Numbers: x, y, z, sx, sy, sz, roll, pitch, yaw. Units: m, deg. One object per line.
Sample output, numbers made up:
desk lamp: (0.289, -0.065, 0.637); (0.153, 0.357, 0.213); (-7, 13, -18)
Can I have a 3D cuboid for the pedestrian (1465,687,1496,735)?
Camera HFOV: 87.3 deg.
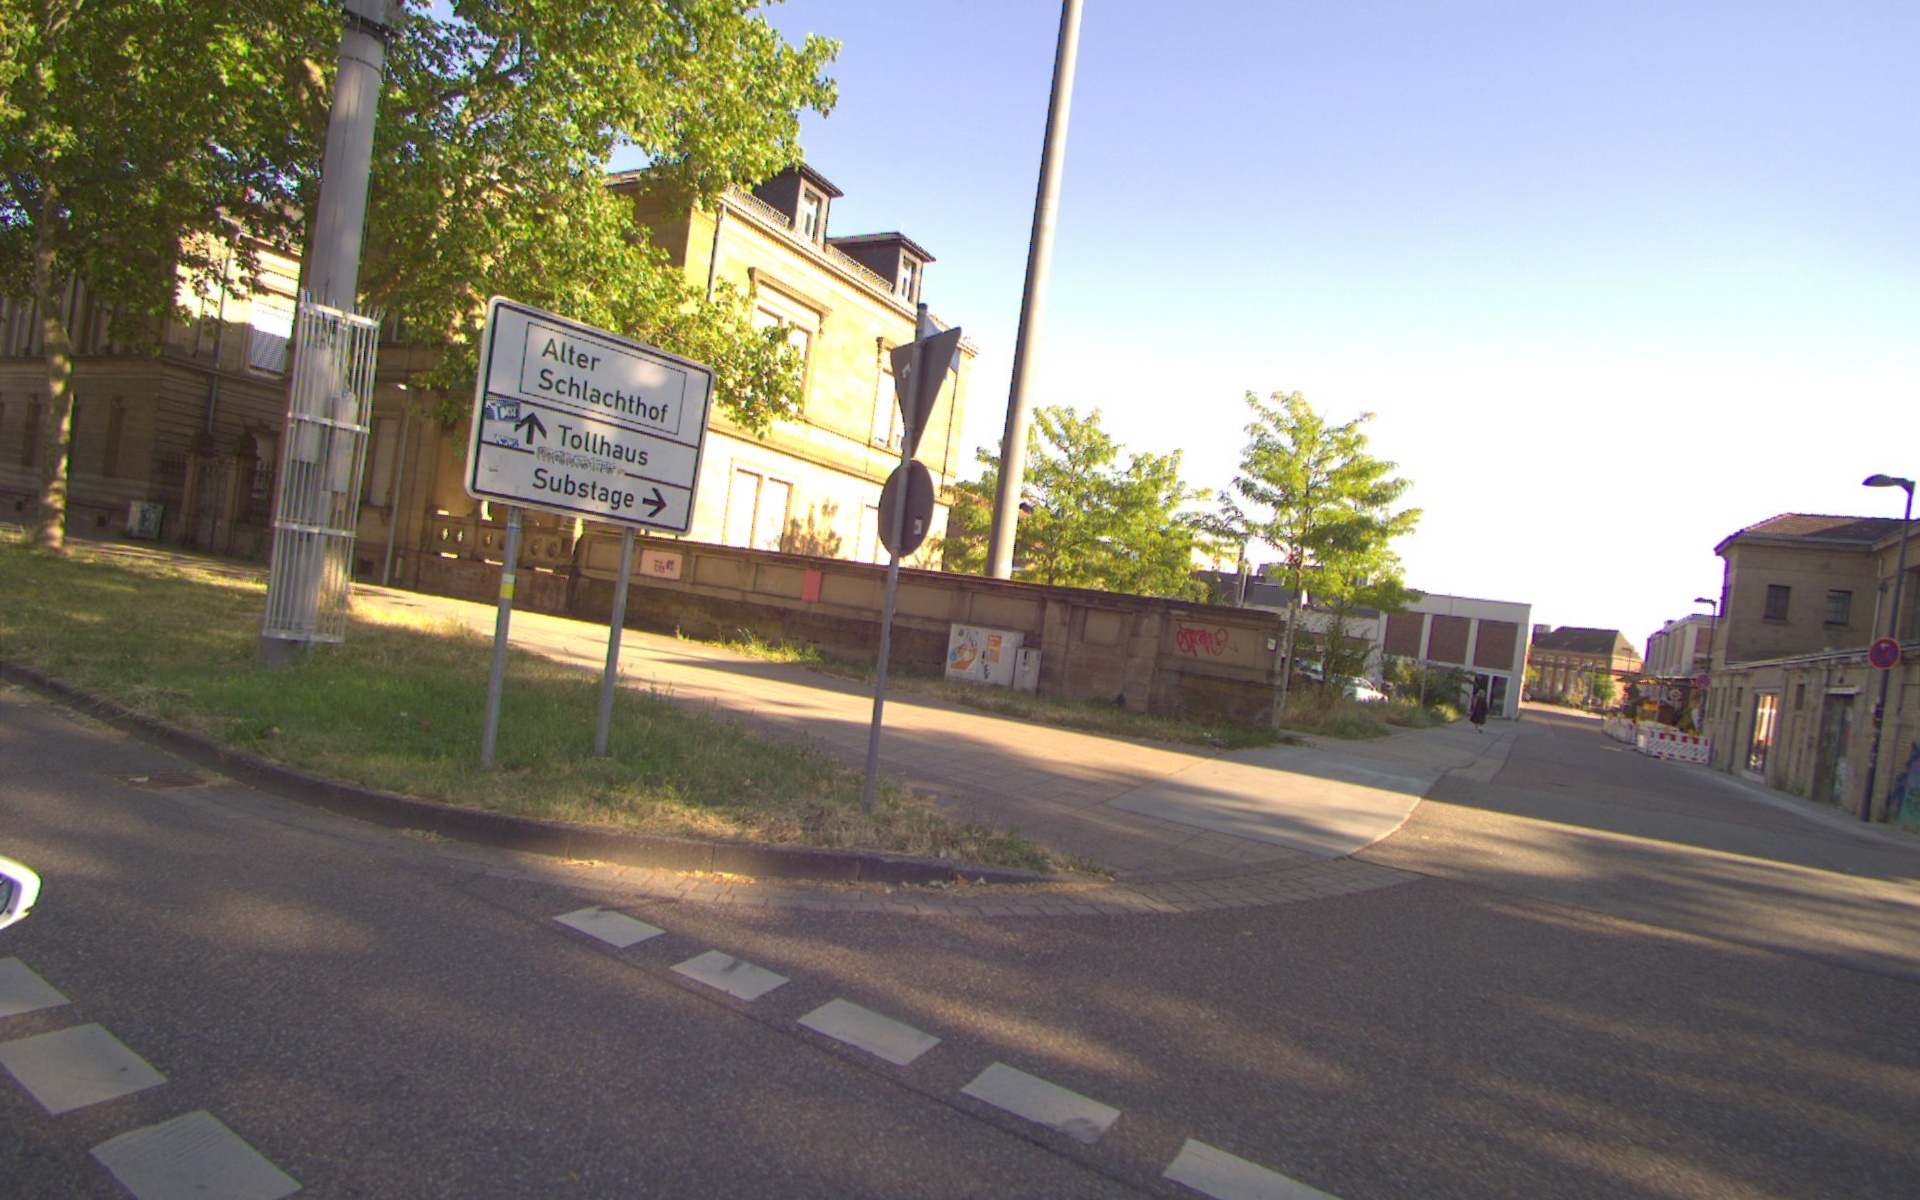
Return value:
pedestrian: (19.392, 4.157, 37.462); (0.778, 1.647, 1.079); (5, -6, 20)
